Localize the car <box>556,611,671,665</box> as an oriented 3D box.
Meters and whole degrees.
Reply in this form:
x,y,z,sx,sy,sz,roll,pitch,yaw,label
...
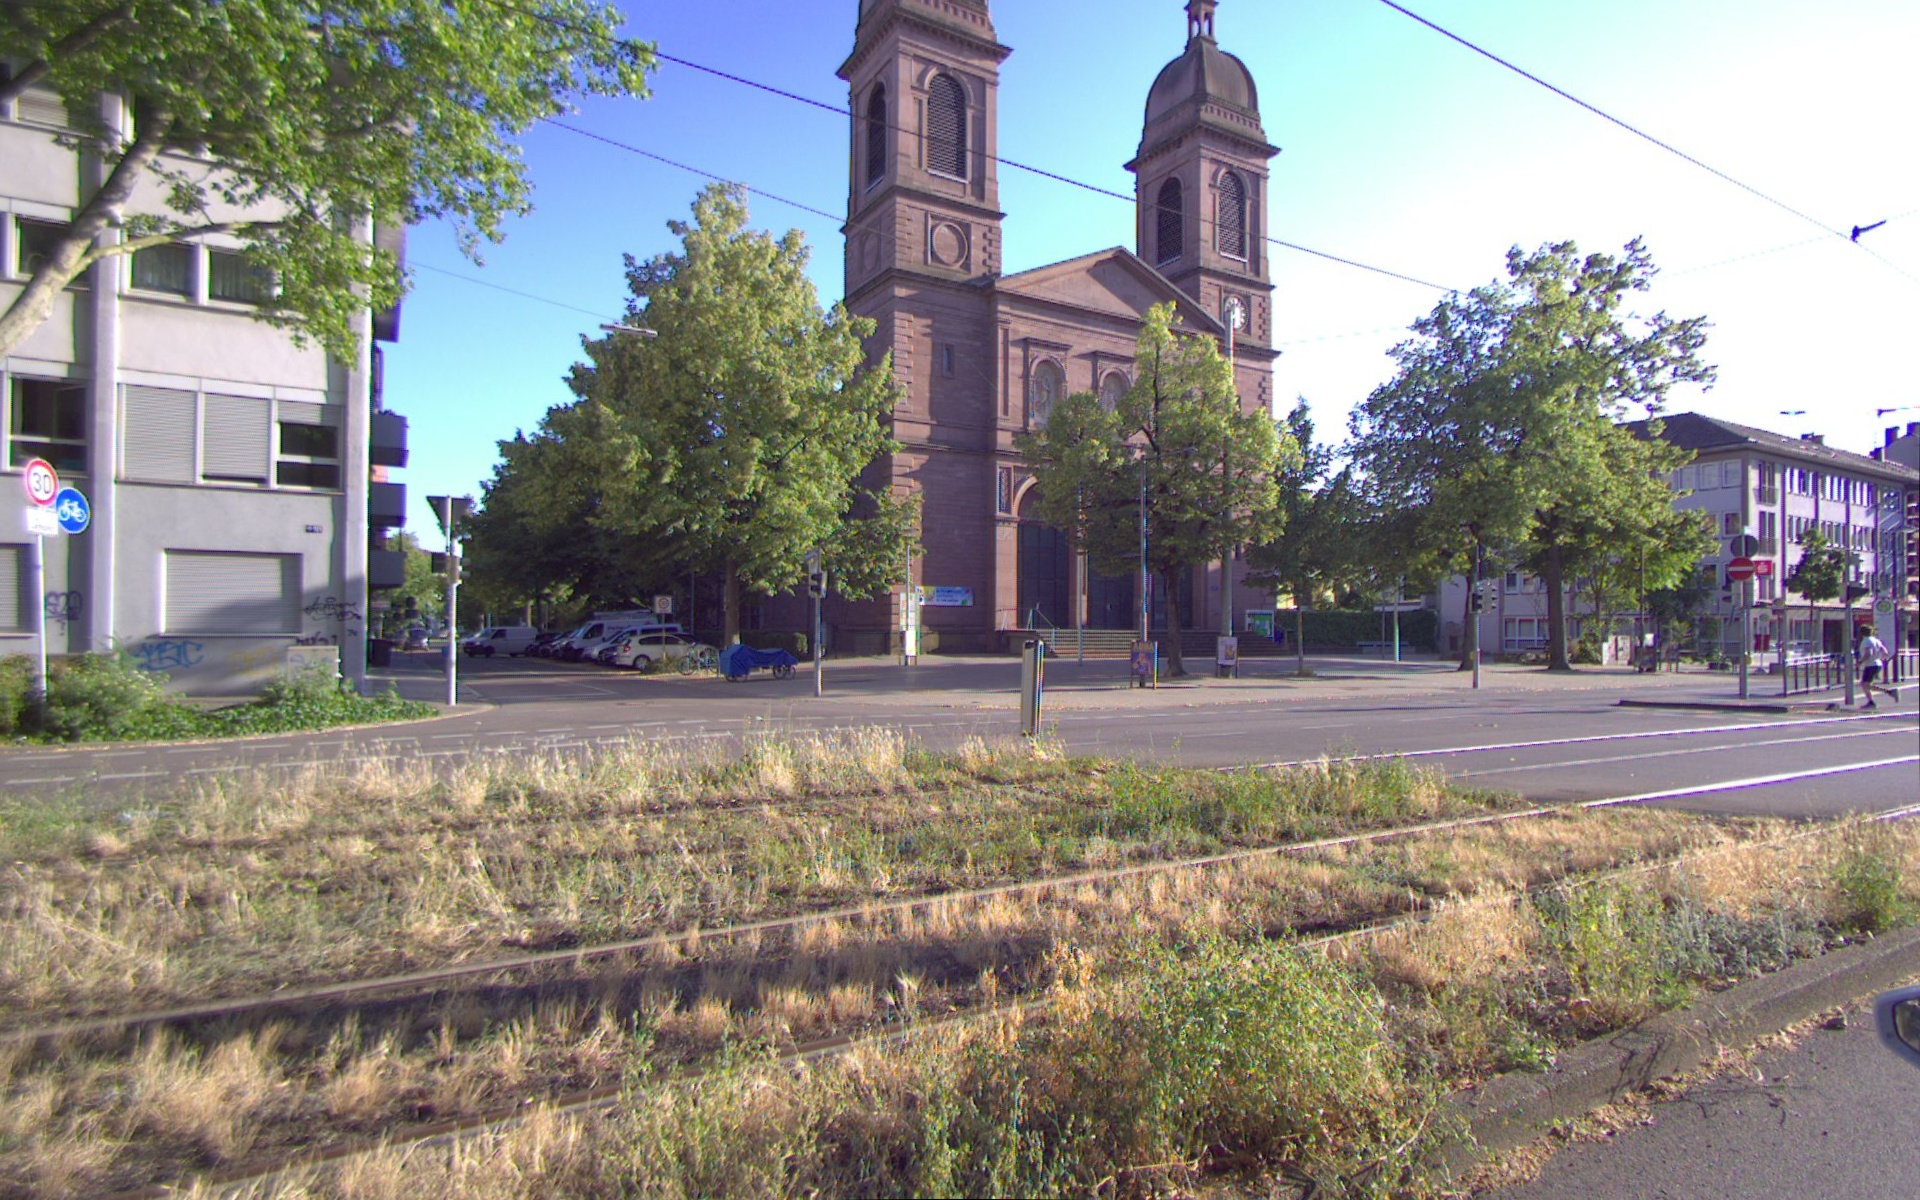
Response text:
x,y,z,sx,sy,sz,roll,pitch,yaw,label
-18.283,2.000,53.113,5.382,2.710,1.980,2,0,-36,car

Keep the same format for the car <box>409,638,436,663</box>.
x,y,z,sx,sy,sz,roll,pitch,yaw,label
-45.759,4.269,85.472,1.976,2.040,3.970,1,-2,-29,car

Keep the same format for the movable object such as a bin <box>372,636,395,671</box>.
x,y,z,sx,sy,sz,roll,pitch,yaw,label
-22.290,2.063,38.810,0.737,1.323,0.865,1,-2,-32,movable object such as a bin

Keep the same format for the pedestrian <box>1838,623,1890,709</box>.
x,y,z,sx,sy,sz,roll,pitch,yaw,label
19.264,1.386,21.400,0.680,1.794,0.676,1,-2,-34,pedestrian

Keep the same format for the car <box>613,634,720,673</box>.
x,y,z,sx,sy,sz,roll,pitch,yaw,label
-12.214,2.208,41.826,3.953,1.479,1.984,2,0,-30,car

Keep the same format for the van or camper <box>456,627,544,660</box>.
x,y,z,sx,sy,sz,roll,pitch,yaw,label
-29.977,2.828,65.638,1.964,2.040,5.128,0,-2,28,van or camper

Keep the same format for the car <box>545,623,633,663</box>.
x,y,z,sx,sy,sz,roll,pitch,yaw,label
-20.412,2.345,55.270,4.174,2.040,1.981,2,0,-34,car

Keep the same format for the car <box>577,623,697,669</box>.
x,y,z,sx,sy,sz,roll,pitch,yaw,label
-15.510,2.212,48.320,5.121,2.040,1.981,2,0,-34,car

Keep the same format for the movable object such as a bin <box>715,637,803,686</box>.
x,y,z,sx,sy,sz,roll,pitch,yaw,label
-6.140,1.854,30.716,2.416,1.228,1.102,-3,2,-30,movable object such as a bin

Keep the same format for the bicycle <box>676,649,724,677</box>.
x,y,z,sx,sy,sz,roll,pitch,yaw,label
-9.049,2.188,34.966,1.517,0.904,0.465,2,0,-27,bicycle
